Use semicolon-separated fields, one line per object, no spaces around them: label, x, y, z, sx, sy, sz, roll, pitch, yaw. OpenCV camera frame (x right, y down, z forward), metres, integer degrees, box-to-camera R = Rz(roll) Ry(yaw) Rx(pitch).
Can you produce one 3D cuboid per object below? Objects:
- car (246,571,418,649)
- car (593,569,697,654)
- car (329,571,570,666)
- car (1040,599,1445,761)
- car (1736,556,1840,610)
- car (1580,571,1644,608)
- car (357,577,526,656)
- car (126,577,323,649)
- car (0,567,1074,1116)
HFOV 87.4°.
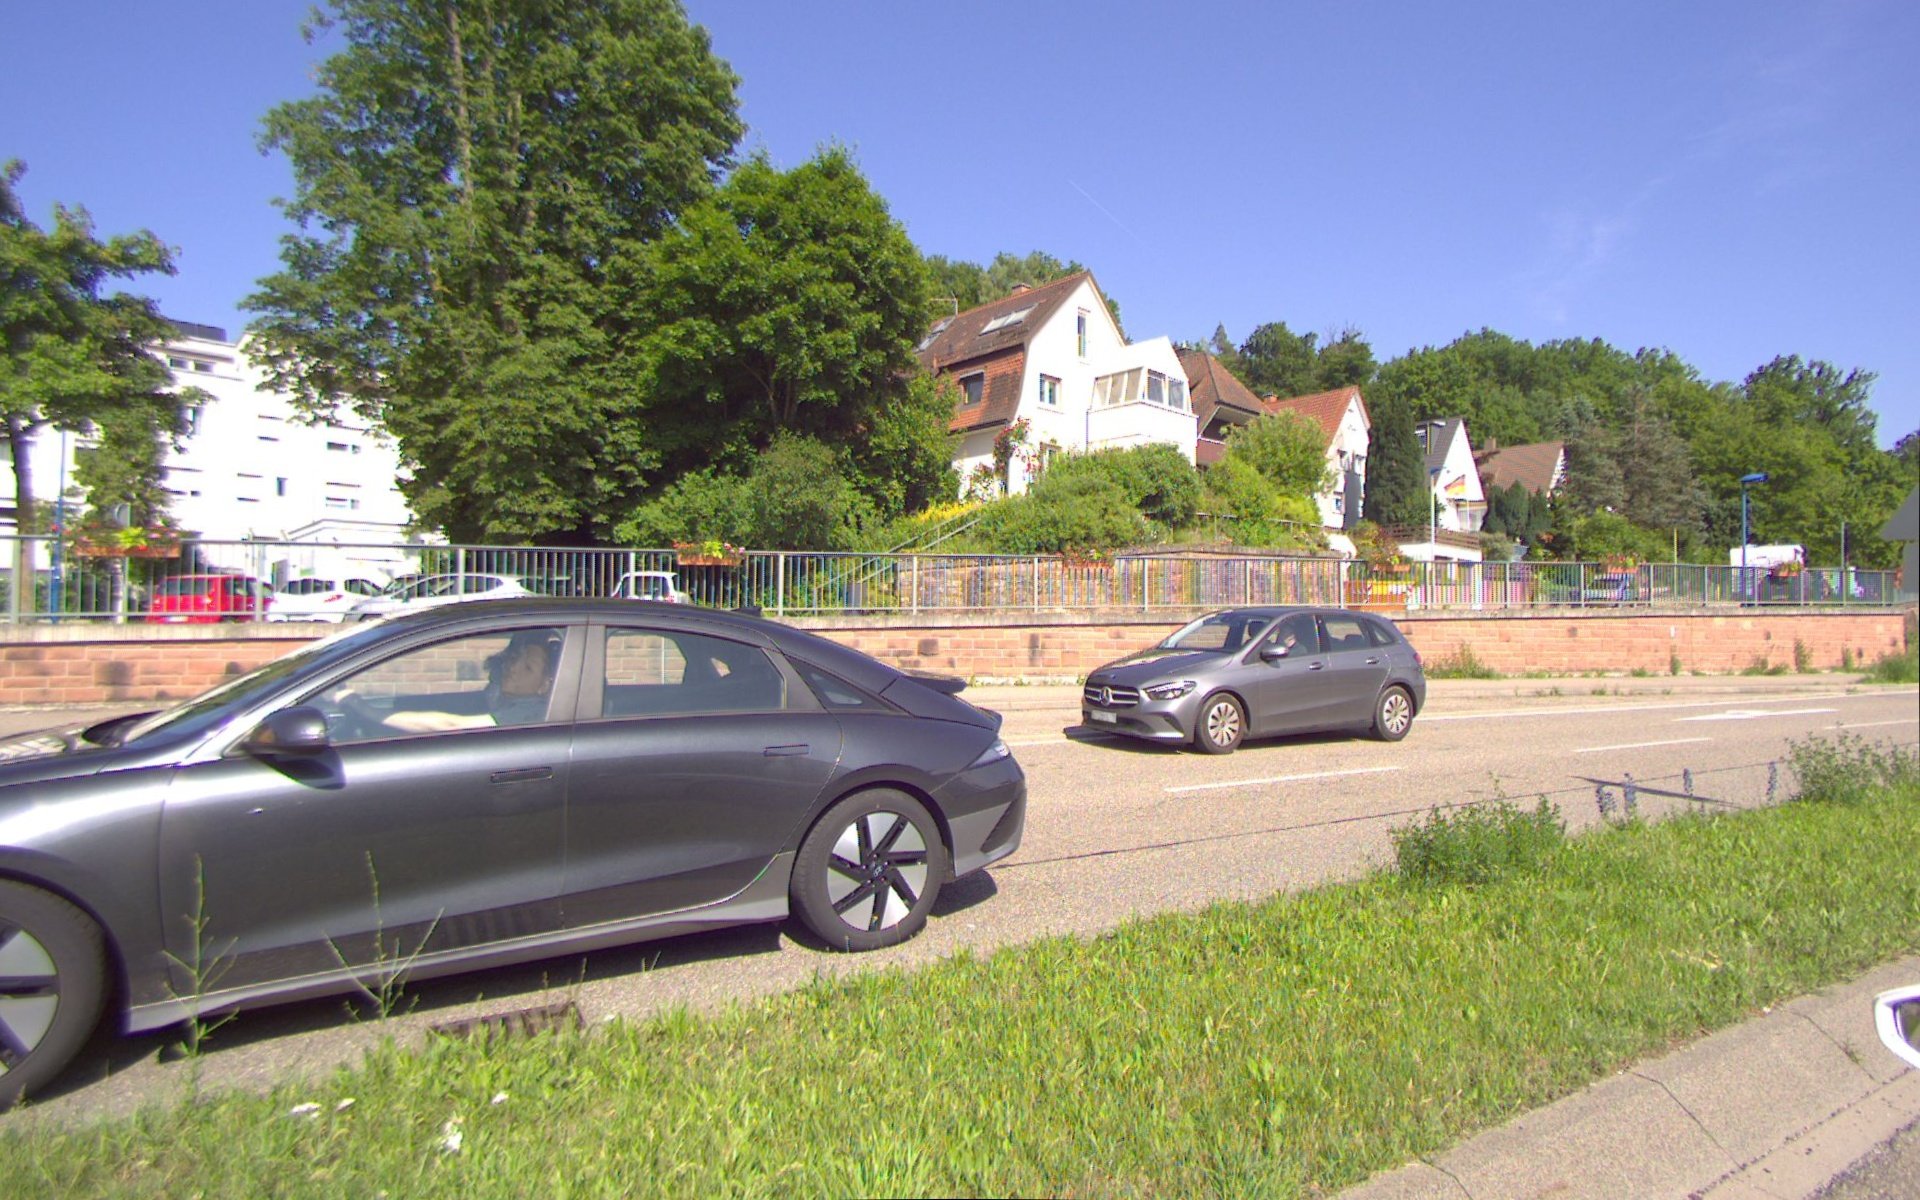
car;-15.042;0.169;24.349;1.877;1.724;3.996;0;2;-5
car;-7.625;0.219;24.680;1.879;1.901;3.993;0;1;-9
car;-10.355;0.373;20.607;3.922;1.813;1.921;1;-1;-2
car;3.343;0.810;11.757;4.453;1.585;1.985;1;0;-28
car;31.771;-0.655;38.513;4.687;1.946;2.006;0;2;-37
car;31.217;-0.455;48.050;1.875;1.651;3.976;0;-1;44
car;-12.184;0.310;23.926;1.961;1.694;3.999;1;1;0
car;-17.437;0.240;24.094;1.877;1.581;3.998;1;1;-2
car;-1.885;0.679;4.265;4.665;1.490;1.781;1;0;-33
